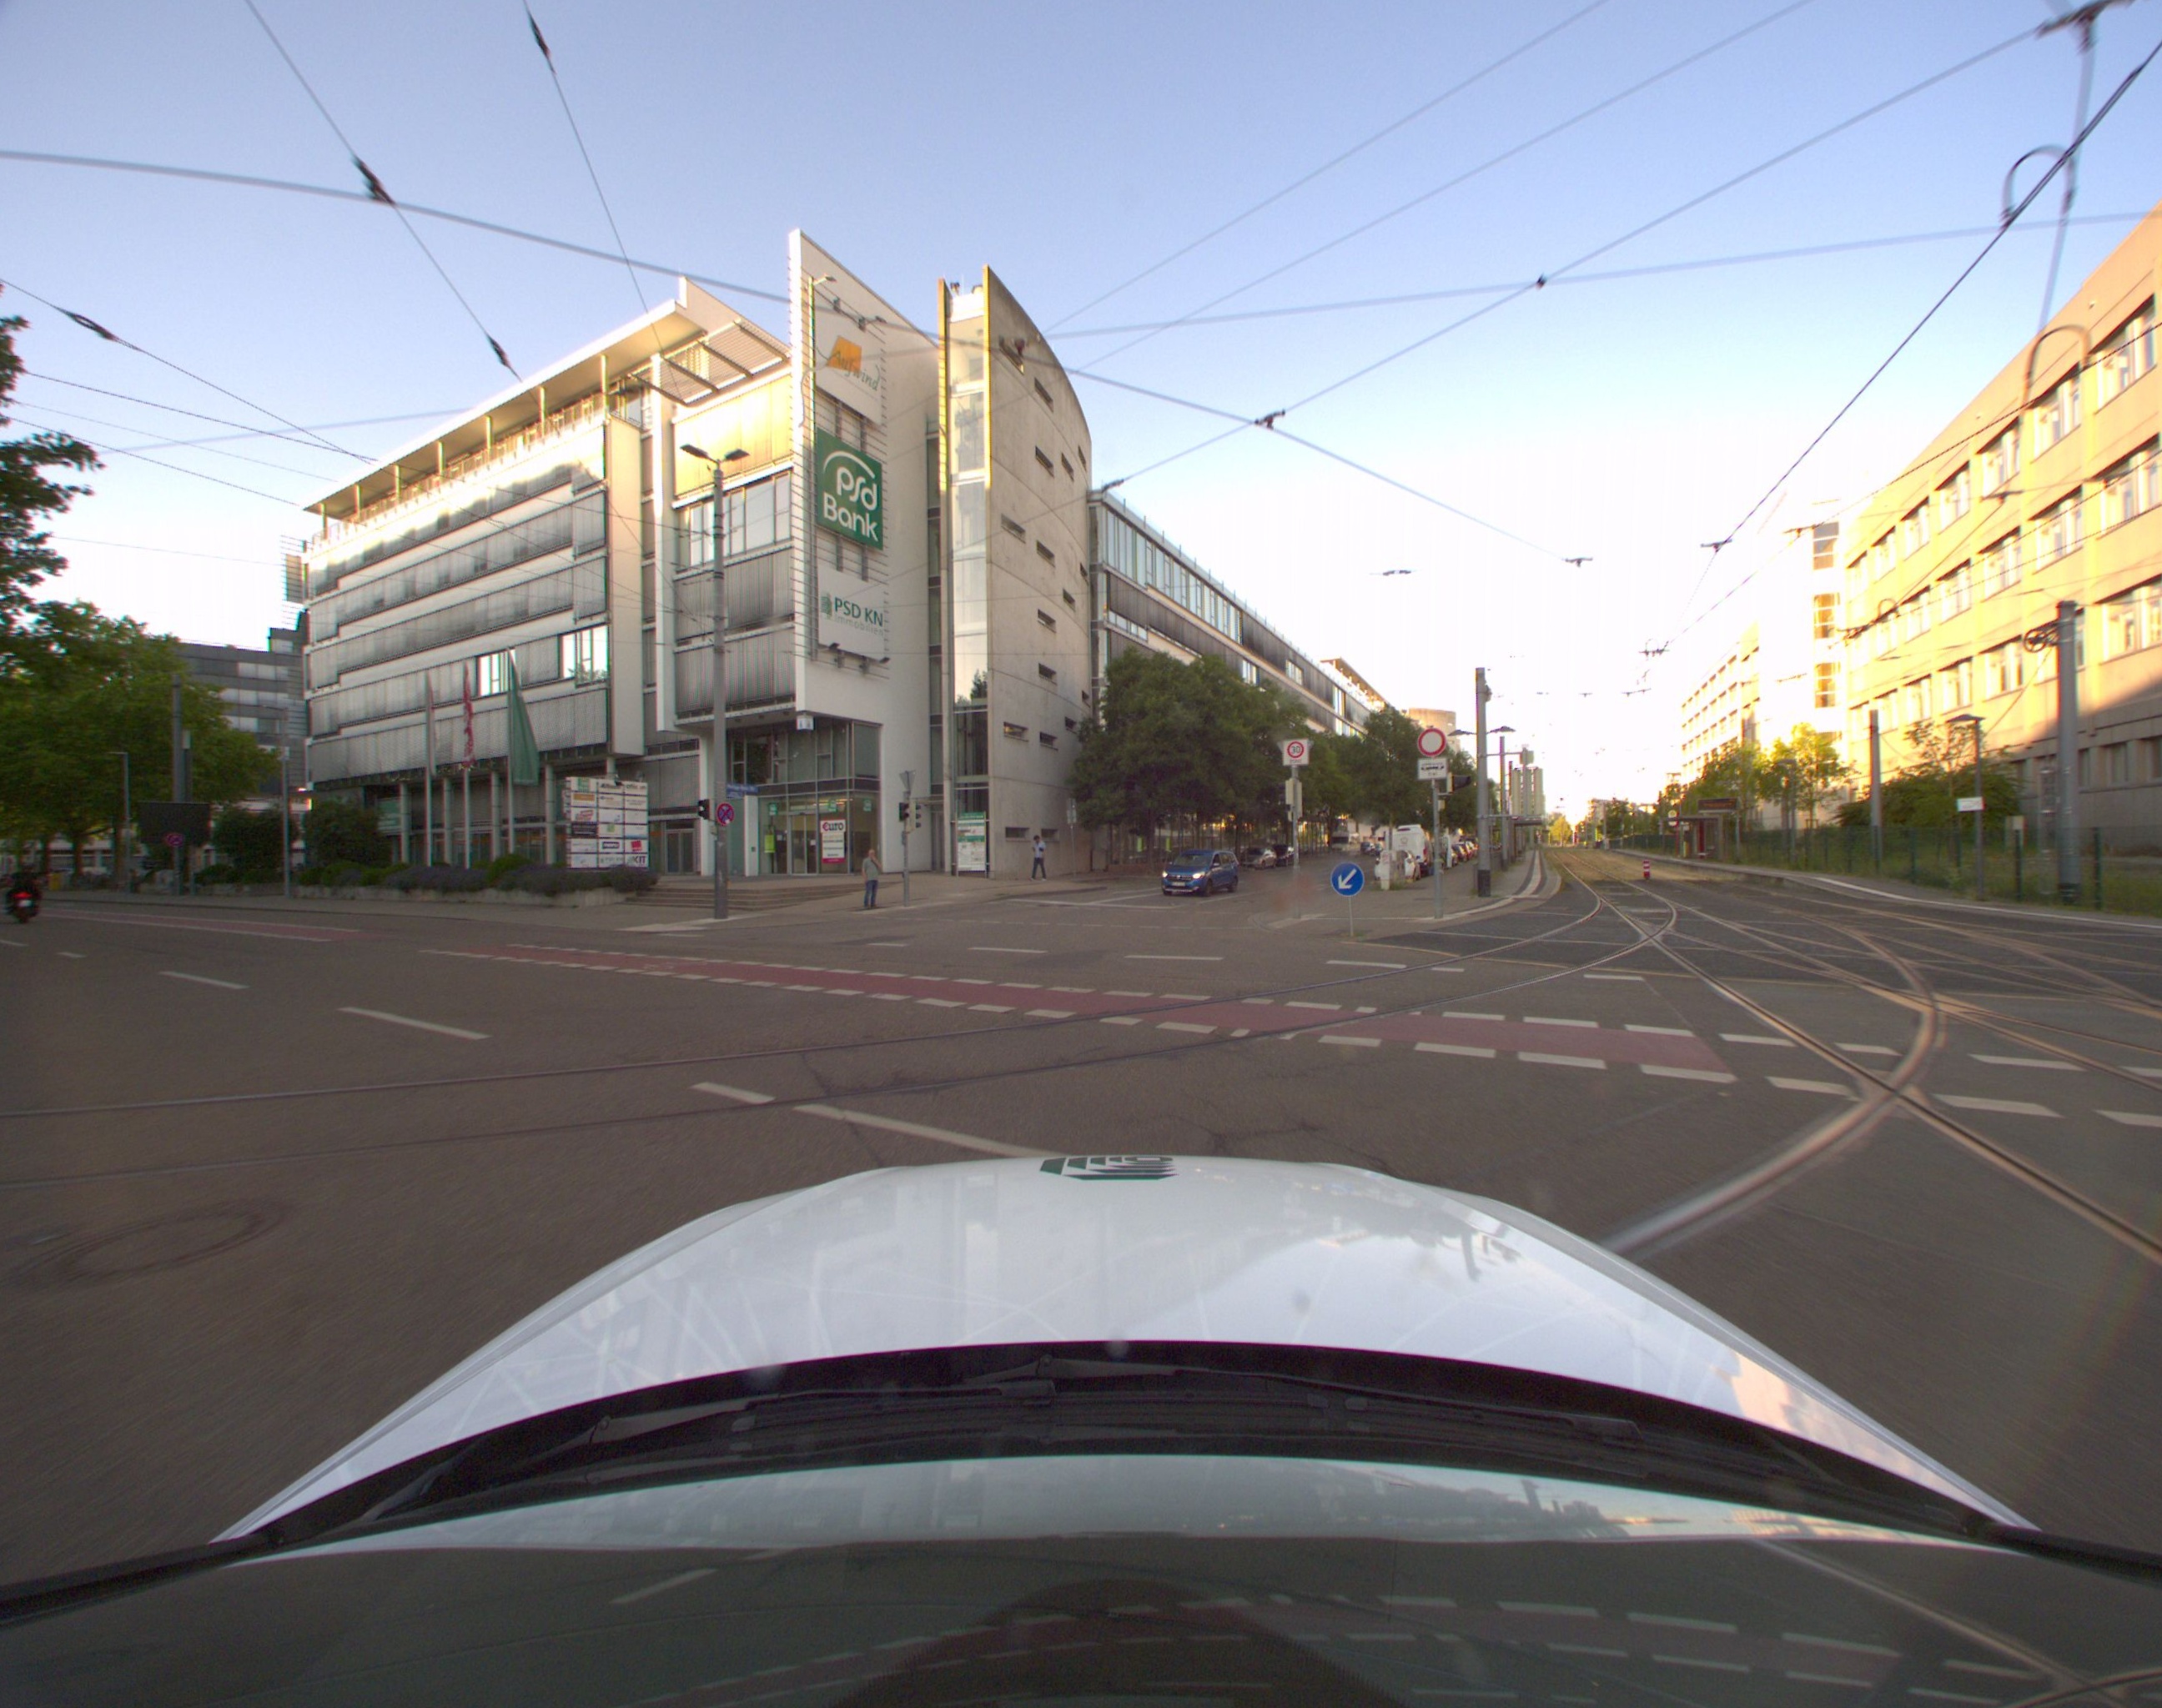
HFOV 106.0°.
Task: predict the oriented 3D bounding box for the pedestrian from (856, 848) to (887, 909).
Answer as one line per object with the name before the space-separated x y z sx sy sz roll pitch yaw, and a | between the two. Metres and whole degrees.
pedestrian | -6.084 0.700 23.692 0.541 1.711 0.664 -1 0 39

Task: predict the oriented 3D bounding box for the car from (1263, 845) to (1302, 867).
car | 14.704 0.126 59.285 1.666 1.501 4.265 -1 0 30

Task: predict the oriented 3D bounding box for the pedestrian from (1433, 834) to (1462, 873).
pedestrian | 18.989 -0.028 42.192 1.035 2.030 0.985 -1 0 2

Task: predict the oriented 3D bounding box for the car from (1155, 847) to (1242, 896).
car | 4.468 0.598 30.403 1.666 1.699 4.266 -1 0 31

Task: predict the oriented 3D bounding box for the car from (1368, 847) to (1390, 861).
car | 34.046 -0.006 93.074 1.666 1.501 4.265 -1 0 30

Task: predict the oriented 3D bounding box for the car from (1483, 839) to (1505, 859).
car | 43.353 -0.570 85.471 1.975 2.013 4.024 -1 0 28

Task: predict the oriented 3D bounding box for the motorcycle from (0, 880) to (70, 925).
motorcycle | -30.890 1.403 23.971 2.460 1.240 0.836 -1 0 25

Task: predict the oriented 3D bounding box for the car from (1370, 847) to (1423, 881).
car | 14.369 0.437 36.975 1.667 1.439 4.151 -1 0 29

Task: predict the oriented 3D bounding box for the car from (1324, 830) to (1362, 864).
car | 25.267 -0.686 78.407 2.180 3.152 6.181 -1 0 30

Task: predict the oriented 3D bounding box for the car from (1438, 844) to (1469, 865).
car | 27.008 0.000 58.937 1.667 1.439 4.151 -1 0 29

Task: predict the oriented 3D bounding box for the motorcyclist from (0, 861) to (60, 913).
motorcyclist | -30.884 0.960 23.925 1.192 1.473 0.836 -1 0 25

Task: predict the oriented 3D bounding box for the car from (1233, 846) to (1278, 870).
car | 11.634 0.231 53.974 1.666 1.501 4.265 -1 0 30

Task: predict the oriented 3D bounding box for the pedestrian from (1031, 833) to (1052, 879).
pedestrian | -1.654 0.076 34.345 0.656 1.922 0.551 -2 0 18

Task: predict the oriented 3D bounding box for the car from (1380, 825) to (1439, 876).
car | 17.187 -0.192 42.403 2.438 2.482 5.842 -1 0 26

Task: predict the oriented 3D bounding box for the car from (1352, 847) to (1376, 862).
car | 30.066 0.058 86.459 1.666 1.501 4.265 -1 0 30
